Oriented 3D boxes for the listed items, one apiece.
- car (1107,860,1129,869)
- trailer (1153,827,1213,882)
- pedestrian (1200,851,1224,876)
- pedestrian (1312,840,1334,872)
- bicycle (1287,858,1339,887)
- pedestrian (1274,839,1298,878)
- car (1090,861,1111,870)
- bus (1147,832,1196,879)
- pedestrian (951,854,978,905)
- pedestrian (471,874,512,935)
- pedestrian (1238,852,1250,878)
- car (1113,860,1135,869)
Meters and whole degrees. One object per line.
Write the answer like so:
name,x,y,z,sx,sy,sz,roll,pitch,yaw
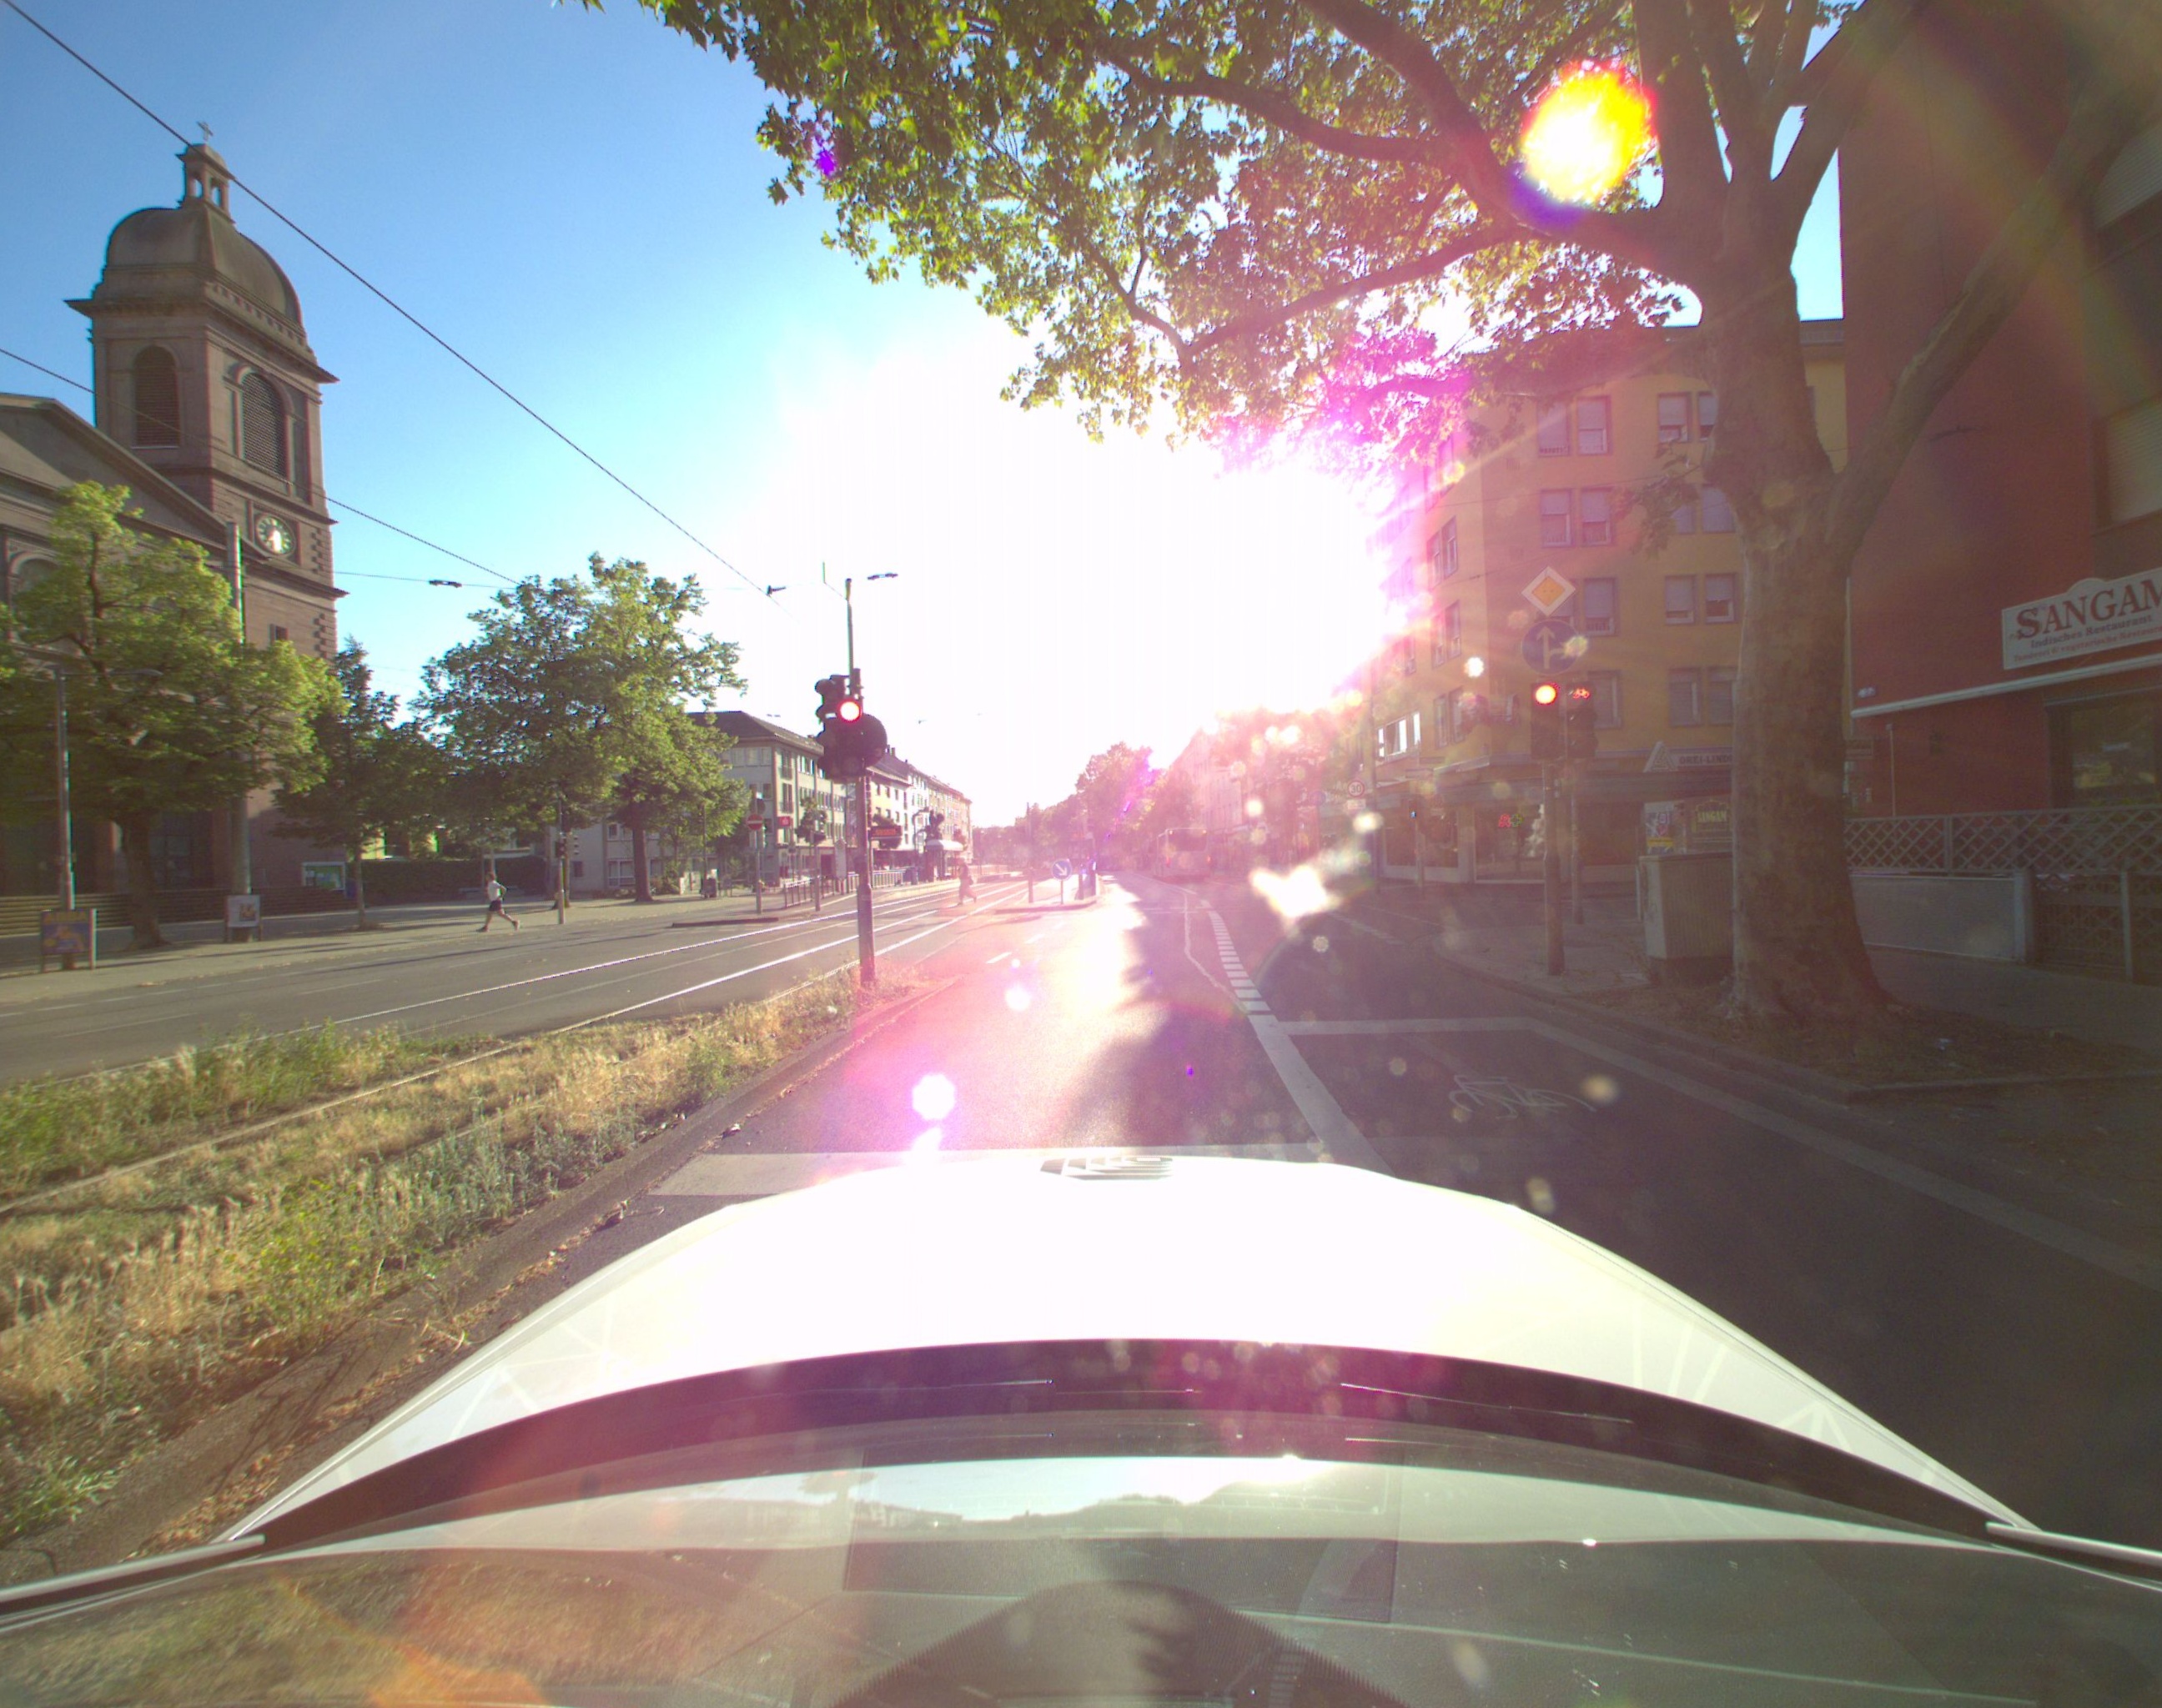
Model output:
car,7.417,2.063,161.439,3.911,1.699,1.817,-2,0,-27
trailer,6.101,0.060,50.010,2.801,3.110,8.797,0,0,2
pedestrian,8.931,0.671,55.650,1.151,1.660,1.178,-2,0,-19
pedestrian,15.654,0.150,52.721,0.988,2.013,0.925,-2,0,-11
bicycle,8.895,0.705,31.246,1.766,1.021,0.694,-4,-1,1
pedestrian,10.845,0.216,43.161,0.950,2.013,0.917,-2,0,0
car,3.986,2.322,166.476,3.911,1.596,1.676,-2,0,-27
bus,6.397,0.123,58.905,2.801,3.101,9.097,0,0,2
pedestrian,-4.187,0.909,29.293,0.677,1.770,0.687,-6,0,2
pedestrian,-17.694,1.507,24.443,0.678,1.770,0.686,-2,0,-4
pedestrian,10.526,0.701,52.638,0.674,1.628,0.656,0,-1,2
car,8.309,2.062,158.689,3.911,1.699,1.817,-2,0,-27
